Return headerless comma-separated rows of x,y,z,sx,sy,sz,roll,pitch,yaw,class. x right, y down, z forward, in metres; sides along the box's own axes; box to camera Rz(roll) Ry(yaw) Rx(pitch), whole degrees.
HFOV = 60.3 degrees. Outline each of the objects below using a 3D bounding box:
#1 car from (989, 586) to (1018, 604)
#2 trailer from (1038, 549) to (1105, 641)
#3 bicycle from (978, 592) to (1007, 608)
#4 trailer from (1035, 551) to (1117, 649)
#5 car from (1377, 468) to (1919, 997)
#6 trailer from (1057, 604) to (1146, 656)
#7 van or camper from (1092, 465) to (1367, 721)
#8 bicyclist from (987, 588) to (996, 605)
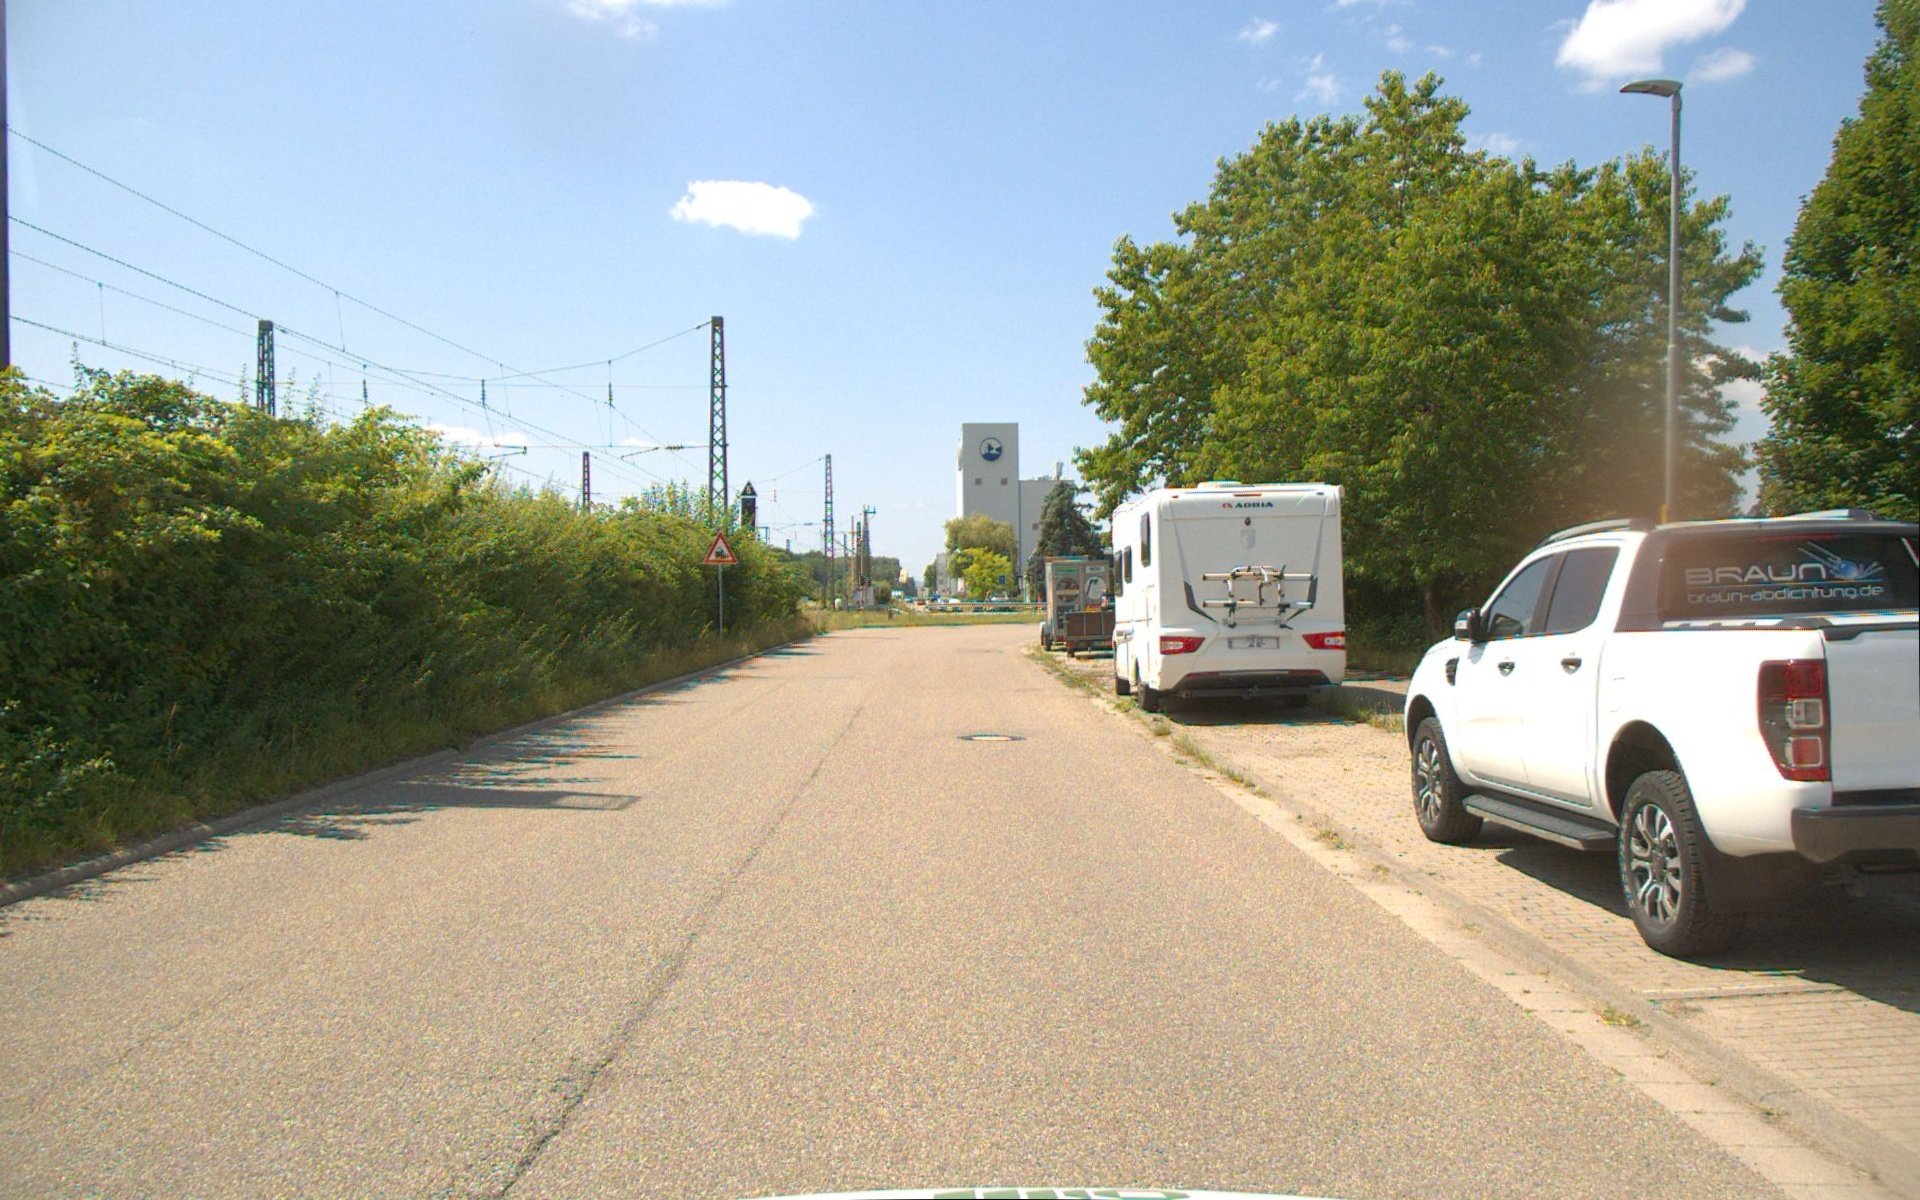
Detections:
3.791,-0.487,145.106,1.955,1.536,4.448,-1,0,-6,car
3.573,-0.174,52.262,1.892,2.690,5.187,-3,0,5,trailer
2.411,0.024,123.148,2.100,1.185,0.660,0,0,31,bicycle
3.254,-0.003,47.165,1.880,2.552,4.740,-3,0,0,trailer
3.805,0.436,8.546,1.810,1.846,5.424,-2,0,-1,car
3.518,0.736,41.713,1.963,1.142,4.490,-3,0,2,trailer
3.423,-0.092,22.918,2.389,2.876,7.622,-2,0,-1,van or camper
2.350,-0.278,123.179,0.500,1.277,0.468,0,0,30,bicyclist
